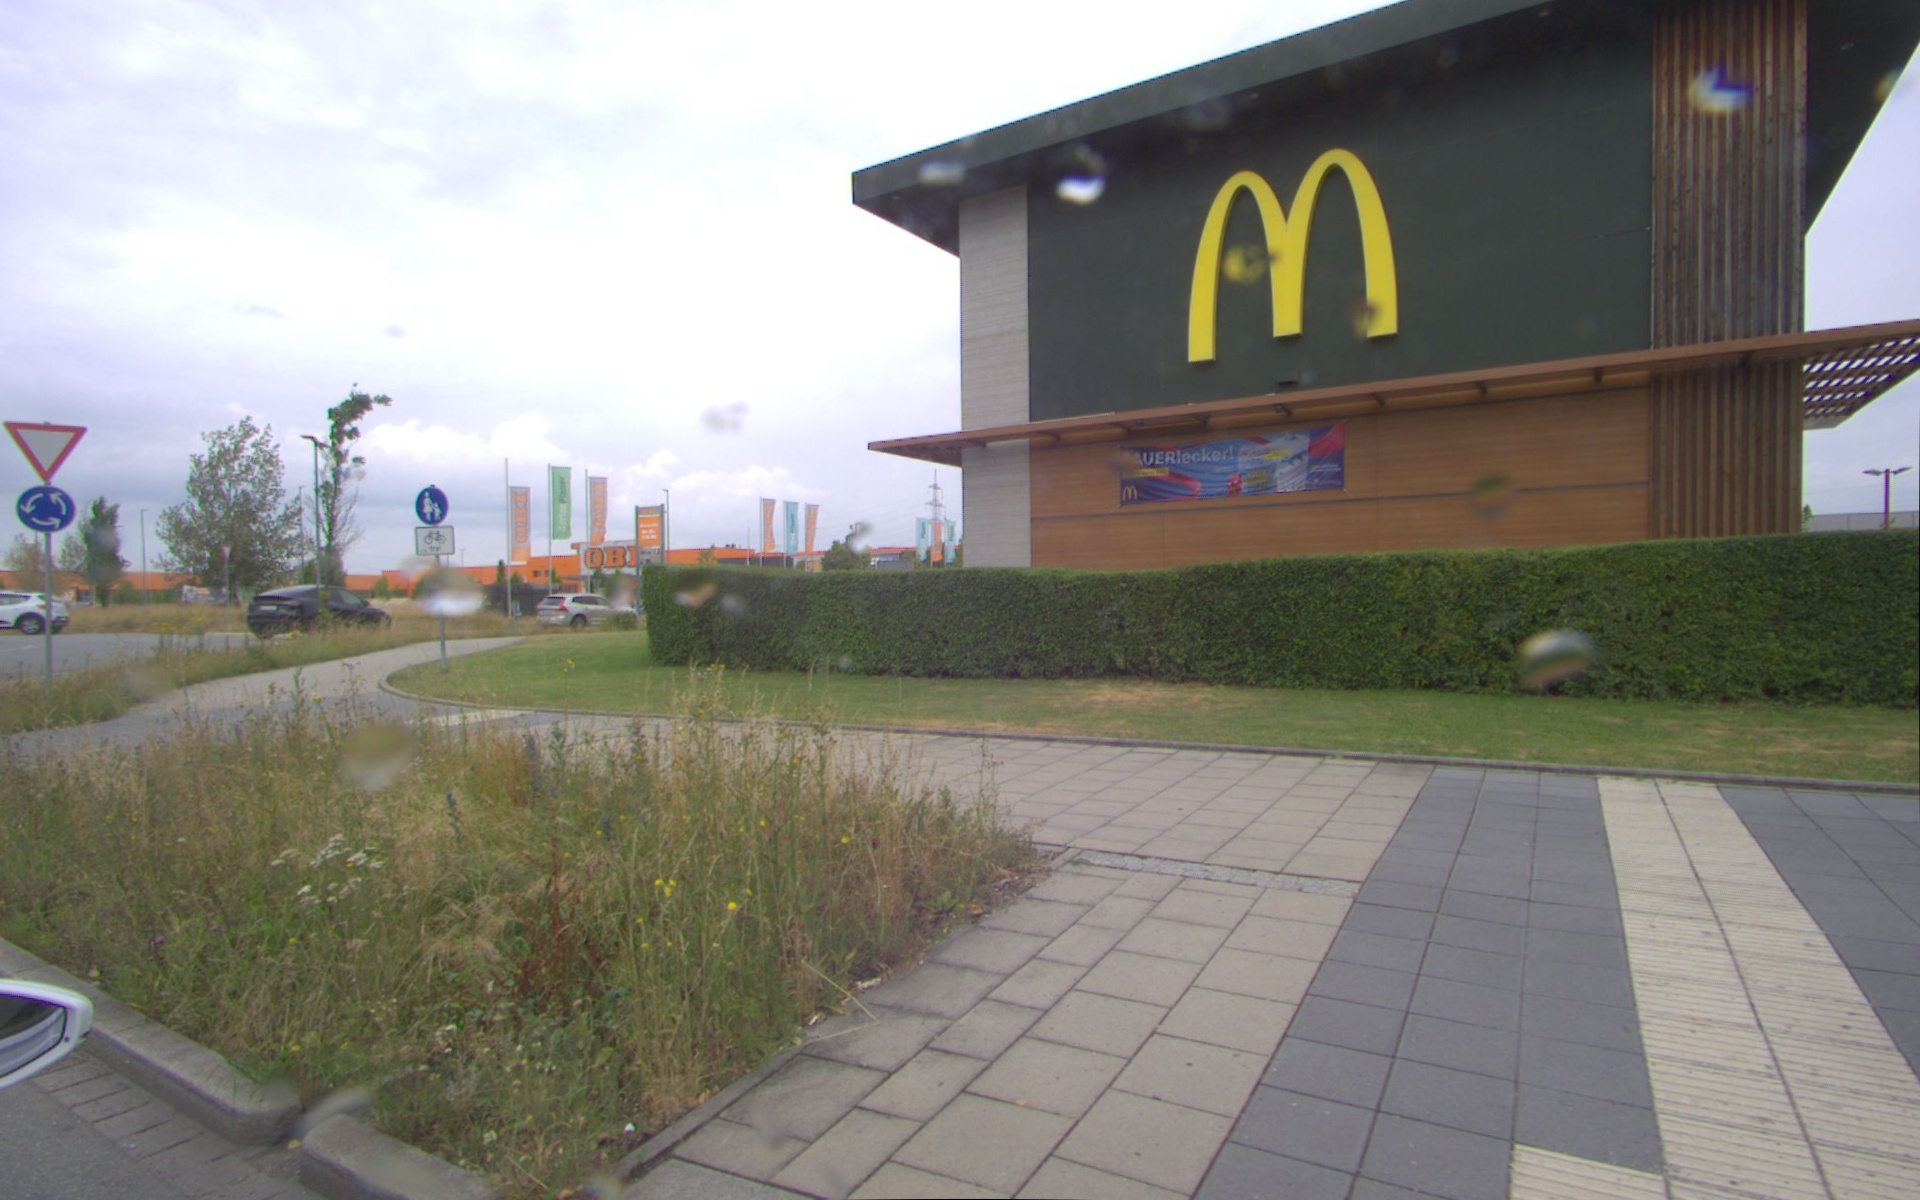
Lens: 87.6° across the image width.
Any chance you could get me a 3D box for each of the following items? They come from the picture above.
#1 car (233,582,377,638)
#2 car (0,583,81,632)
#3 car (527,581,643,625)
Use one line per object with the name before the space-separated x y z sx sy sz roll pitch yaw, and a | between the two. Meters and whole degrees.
car | -20.089 0.251 30.990 1.907 1.519 4.769 1 2 -9
car | -34.402 0.254 35.662 4.272 1.671 1.862 0 2 -26
car | -16.190 0.081 43.551 1.912 1.762 4.757 2 2 25
